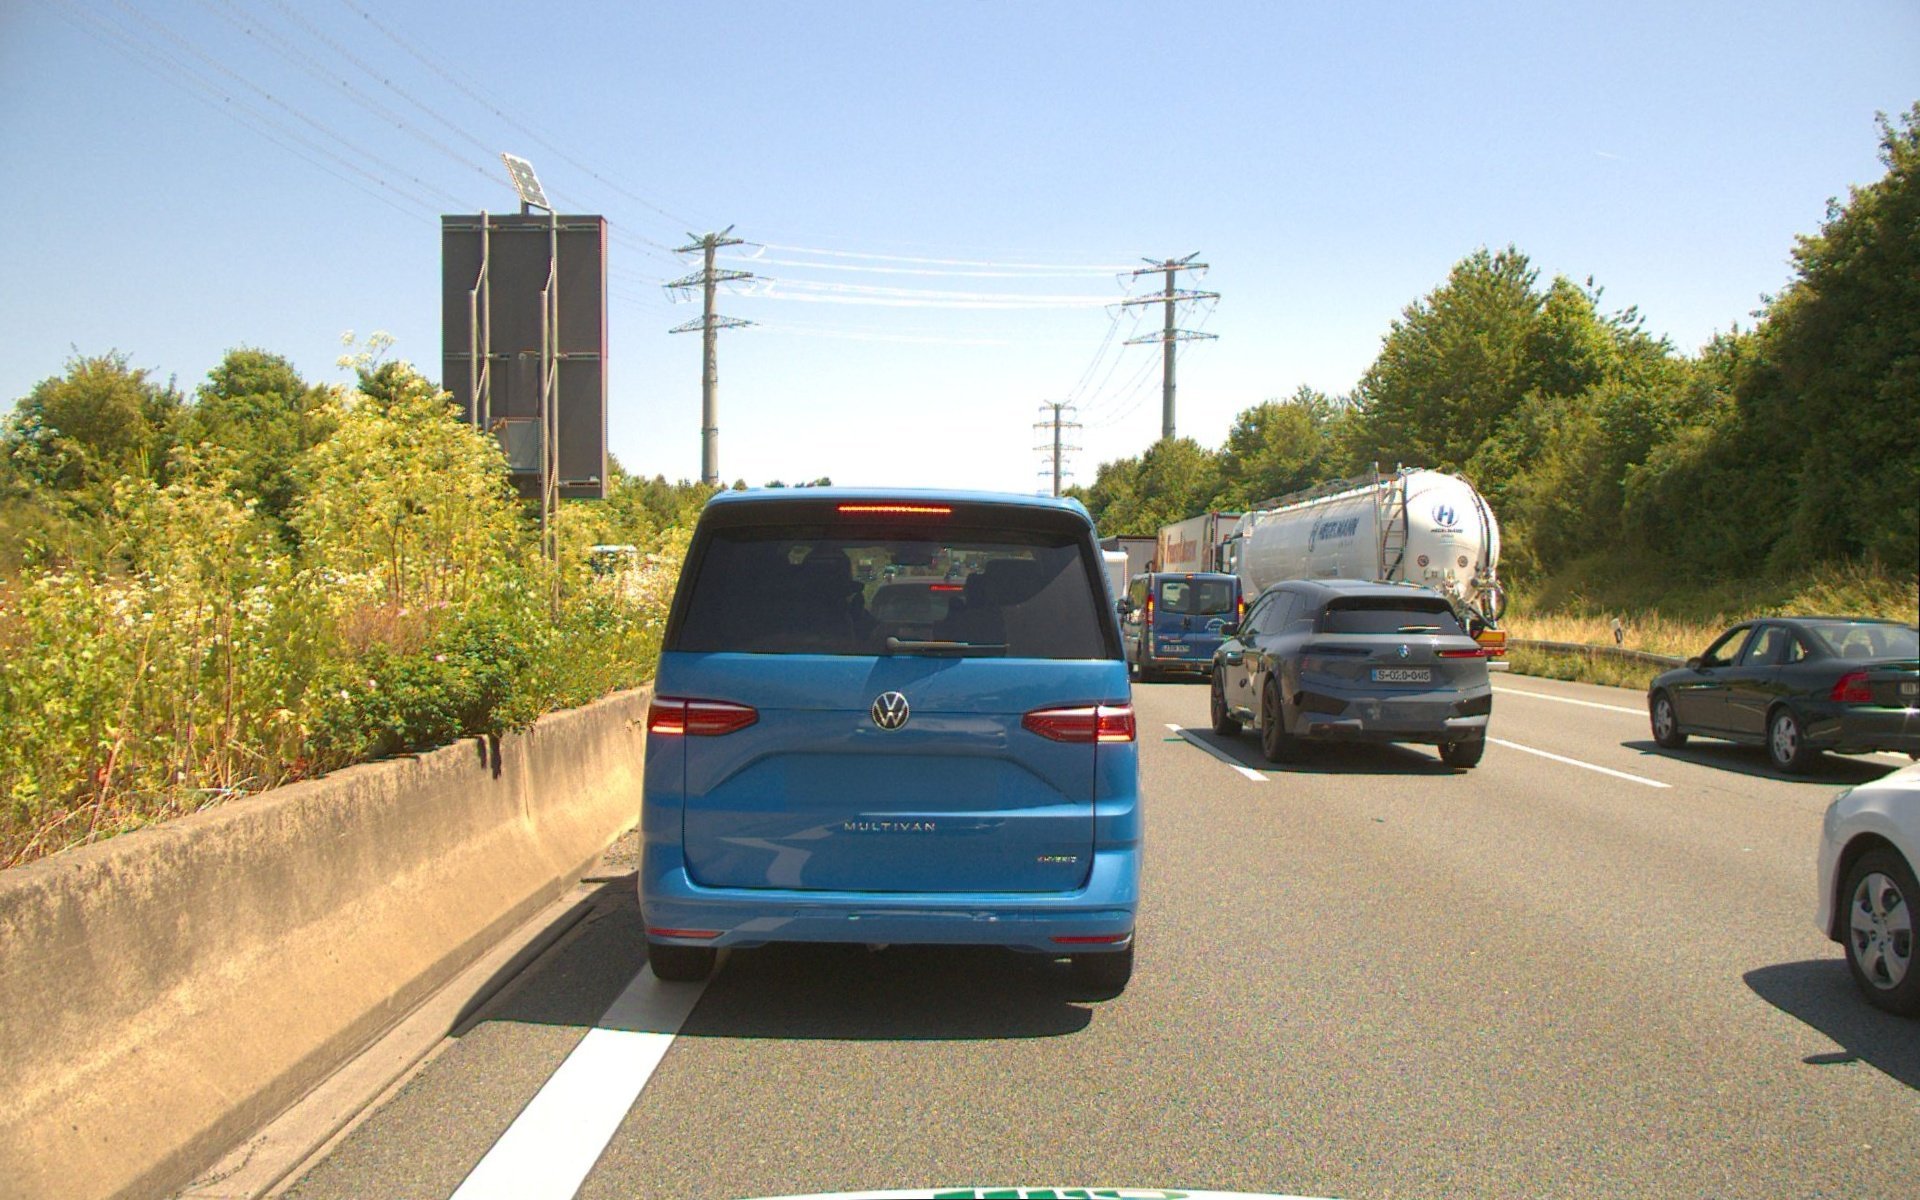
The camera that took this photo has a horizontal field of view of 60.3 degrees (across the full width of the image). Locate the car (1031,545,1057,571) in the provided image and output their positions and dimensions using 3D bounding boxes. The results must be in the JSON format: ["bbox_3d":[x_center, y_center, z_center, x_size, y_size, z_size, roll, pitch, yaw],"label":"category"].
[{"bbox_3d":[7.150,-3.575,141.109,1.953,2.049,4.000,0,0,0],"label":"car"}]

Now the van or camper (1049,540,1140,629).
[{"bbox_3d":[4.841,-0.523,60.809,2.896,3.075,7.103,0,0,1],"label":"van or camper"}]

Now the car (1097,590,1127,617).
[{"bbox_3d":[11.919,0.270,129.907,1.953,2.049,3.999,0,0,-1],"label":"car"}]

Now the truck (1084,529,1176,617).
[{"bbox_3d":[8.065,-1.169,80.563,2.944,3.832,15.713,0,0,0],"label":"truck"}]

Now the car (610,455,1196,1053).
[{"bbox_3d":[-0.193,0.495,7.430,1.881,1.919,4.000,1,0,0],"label":"car"}]

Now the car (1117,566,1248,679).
[{"bbox_3d":[4.128,0.425,31.311,1.884,1.959,4.235,-1,-1,0],"label":"car"}]

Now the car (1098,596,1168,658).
[{"bbox_3d":[4.275,0.660,41.220,1.332,1.445,3.884,-1,-1,0],"label":"car"}]

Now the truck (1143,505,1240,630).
[{"bbox_3d":[8.696,-1.186,62.660,2.853,4.547,5.141,0,0,-1],"label":"truck"}]

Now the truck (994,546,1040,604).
[{"bbox_3d":[3.849,-1.622,113.624,2.836,3.832,10.140,0,0,0],"label":"truck"}]

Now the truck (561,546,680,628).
[{"bbox_3d":[-14.974,-0.538,73.981,2.708,3.346,11.820,0,0,1],"label":"truck"}]

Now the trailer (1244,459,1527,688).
[{"bbox_3d":[8.267,-0.466,34.007,2.705,3.912,11.484,0,0,-1],"label":"trailer"}]

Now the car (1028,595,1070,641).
[{"bbox_3d":[4.101,0.841,76.862,1.798,2.033,4.000,-1,-1,1],"label":"car"}]

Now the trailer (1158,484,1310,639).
[{"bbox_3d":[8.815,-1.147,54.906,2.853,4.547,12.152,0,0,-1],"label":"trailer"}]

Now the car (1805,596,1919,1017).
[{"bbox_3d":[4.315,0.727,4.743,1.779,1.511,4.000,0,-1,1],"label":"car"}]

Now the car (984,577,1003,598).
[{"bbox_3d":[3.609,-1.346,180.611,1.953,2.163,3.999,0,0,-1],"label":"car"}]

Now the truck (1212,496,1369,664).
[{"bbox_3d":[8.139,-0.477,41.401,2.736,3.903,5.571,0,0,-1],"label":"truck"}]

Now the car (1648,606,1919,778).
[{"bbox_3d":[8.328,0.799,16.095,1.607,1.441,3.988,-1,-1,0],"label":"car"}]

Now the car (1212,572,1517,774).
[{"bbox_3d":[3.857,0.657,16.653,1.958,1.745,4.625,0,-1,0],"label":"car"}]

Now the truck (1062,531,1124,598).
[{"bbox_3d":[8.151,-2.053,102.934,2.836,3.832,13.345,0,0,0],"label":"truck"}]
